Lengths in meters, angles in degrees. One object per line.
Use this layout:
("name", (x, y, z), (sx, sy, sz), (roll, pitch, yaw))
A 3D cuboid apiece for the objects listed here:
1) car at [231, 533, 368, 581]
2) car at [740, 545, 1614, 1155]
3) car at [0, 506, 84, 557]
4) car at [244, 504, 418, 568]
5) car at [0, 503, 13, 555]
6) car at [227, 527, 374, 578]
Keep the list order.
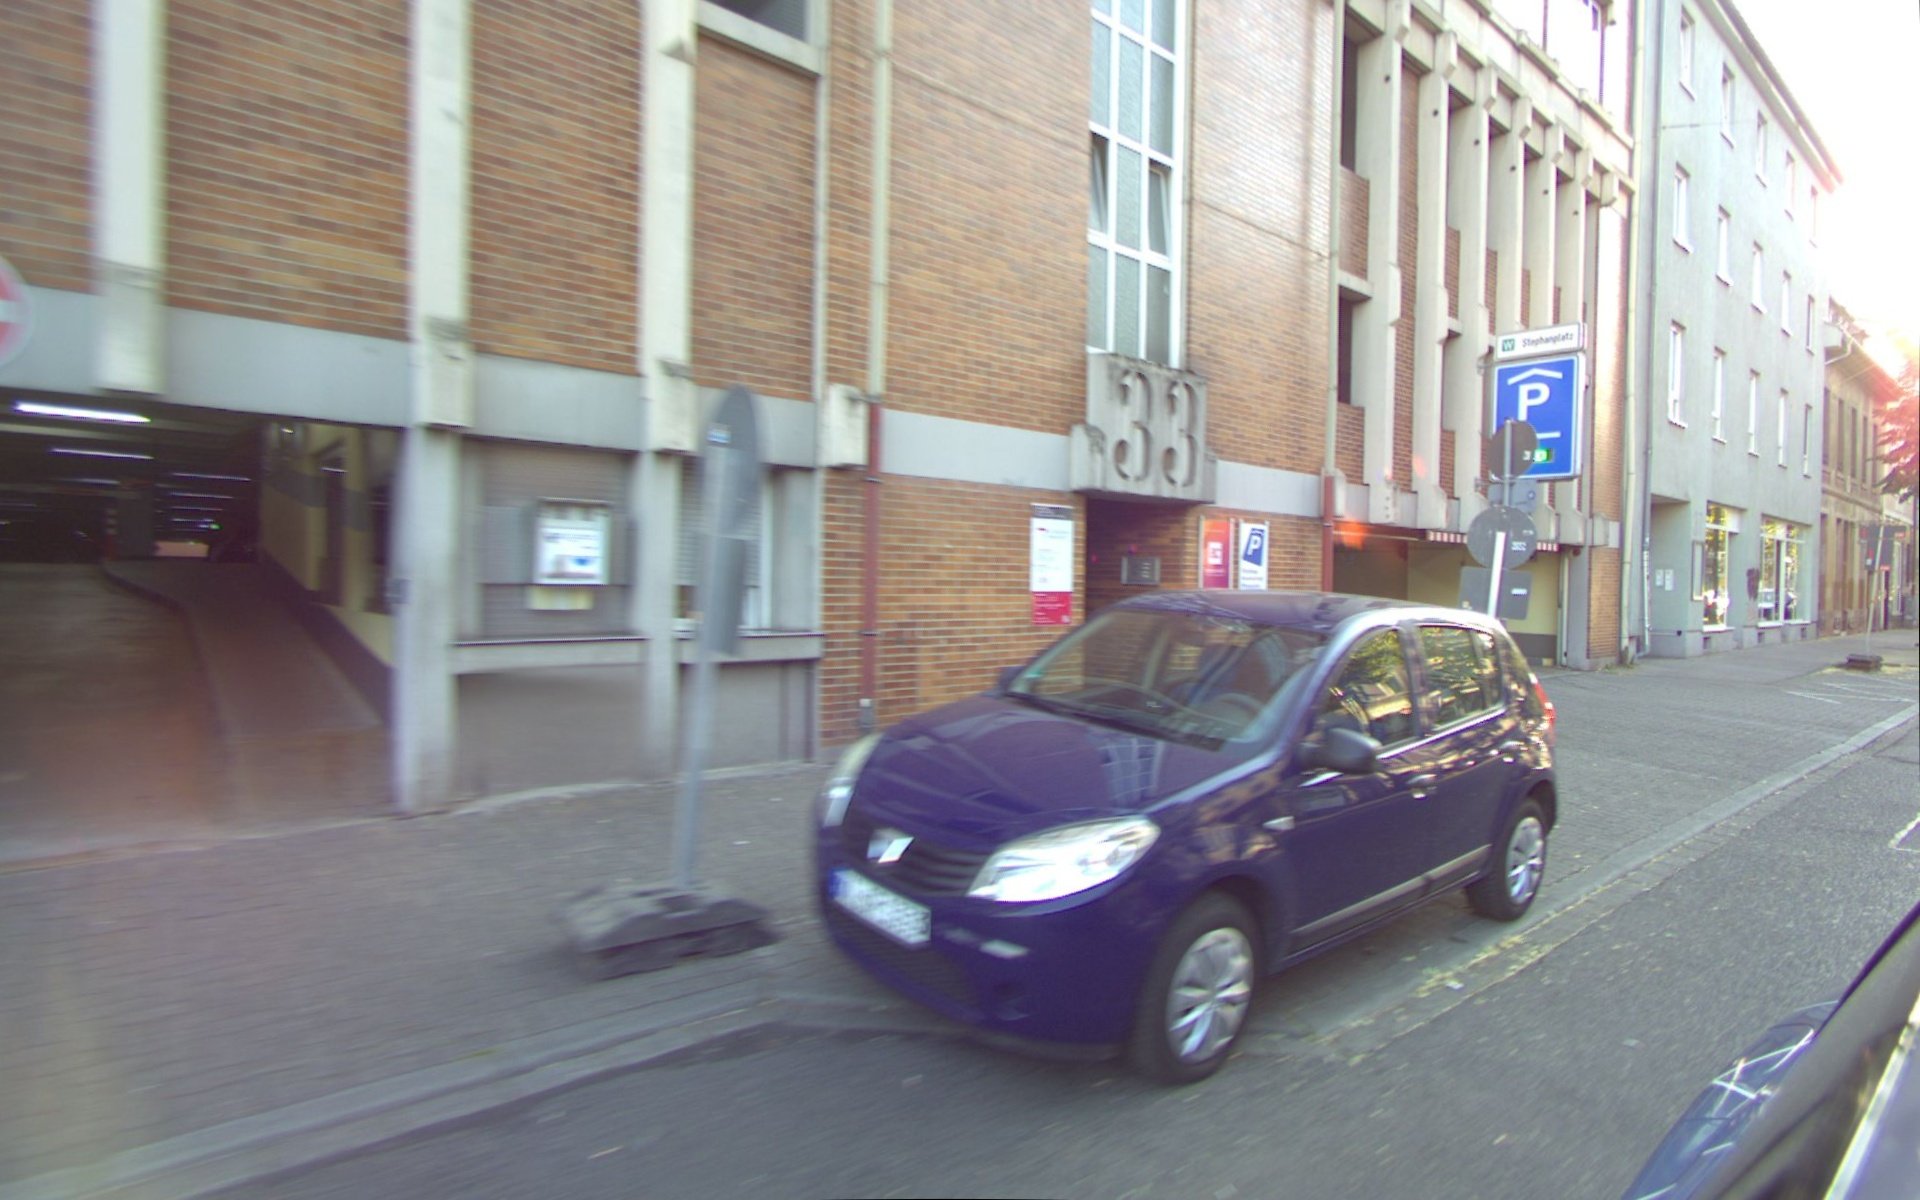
("car", (-23.878, -1.536, 36.769), (3.917, 1.621, 1.830), (0, 1, -24))
("car", (1.213, 0.621, 4.589), (3.928, 1.555, 1.764), (0, 4, -40))
("car", (-32.008, -2.284, 34.140), (3.942, 1.621, 1.819), (1, 1, 15))
("car", (-17.443, -1.724, 28.298), (3.917, 1.621, 1.830), (0, 1, -24))
("car", (-32.615, -2.292, 32.206), (3.942, 1.621, 1.819), (1, 1, 15))
("car", (-22.183, -1.572, 34.237), (3.917, 1.621, 1.830), (0, 1, -24))
